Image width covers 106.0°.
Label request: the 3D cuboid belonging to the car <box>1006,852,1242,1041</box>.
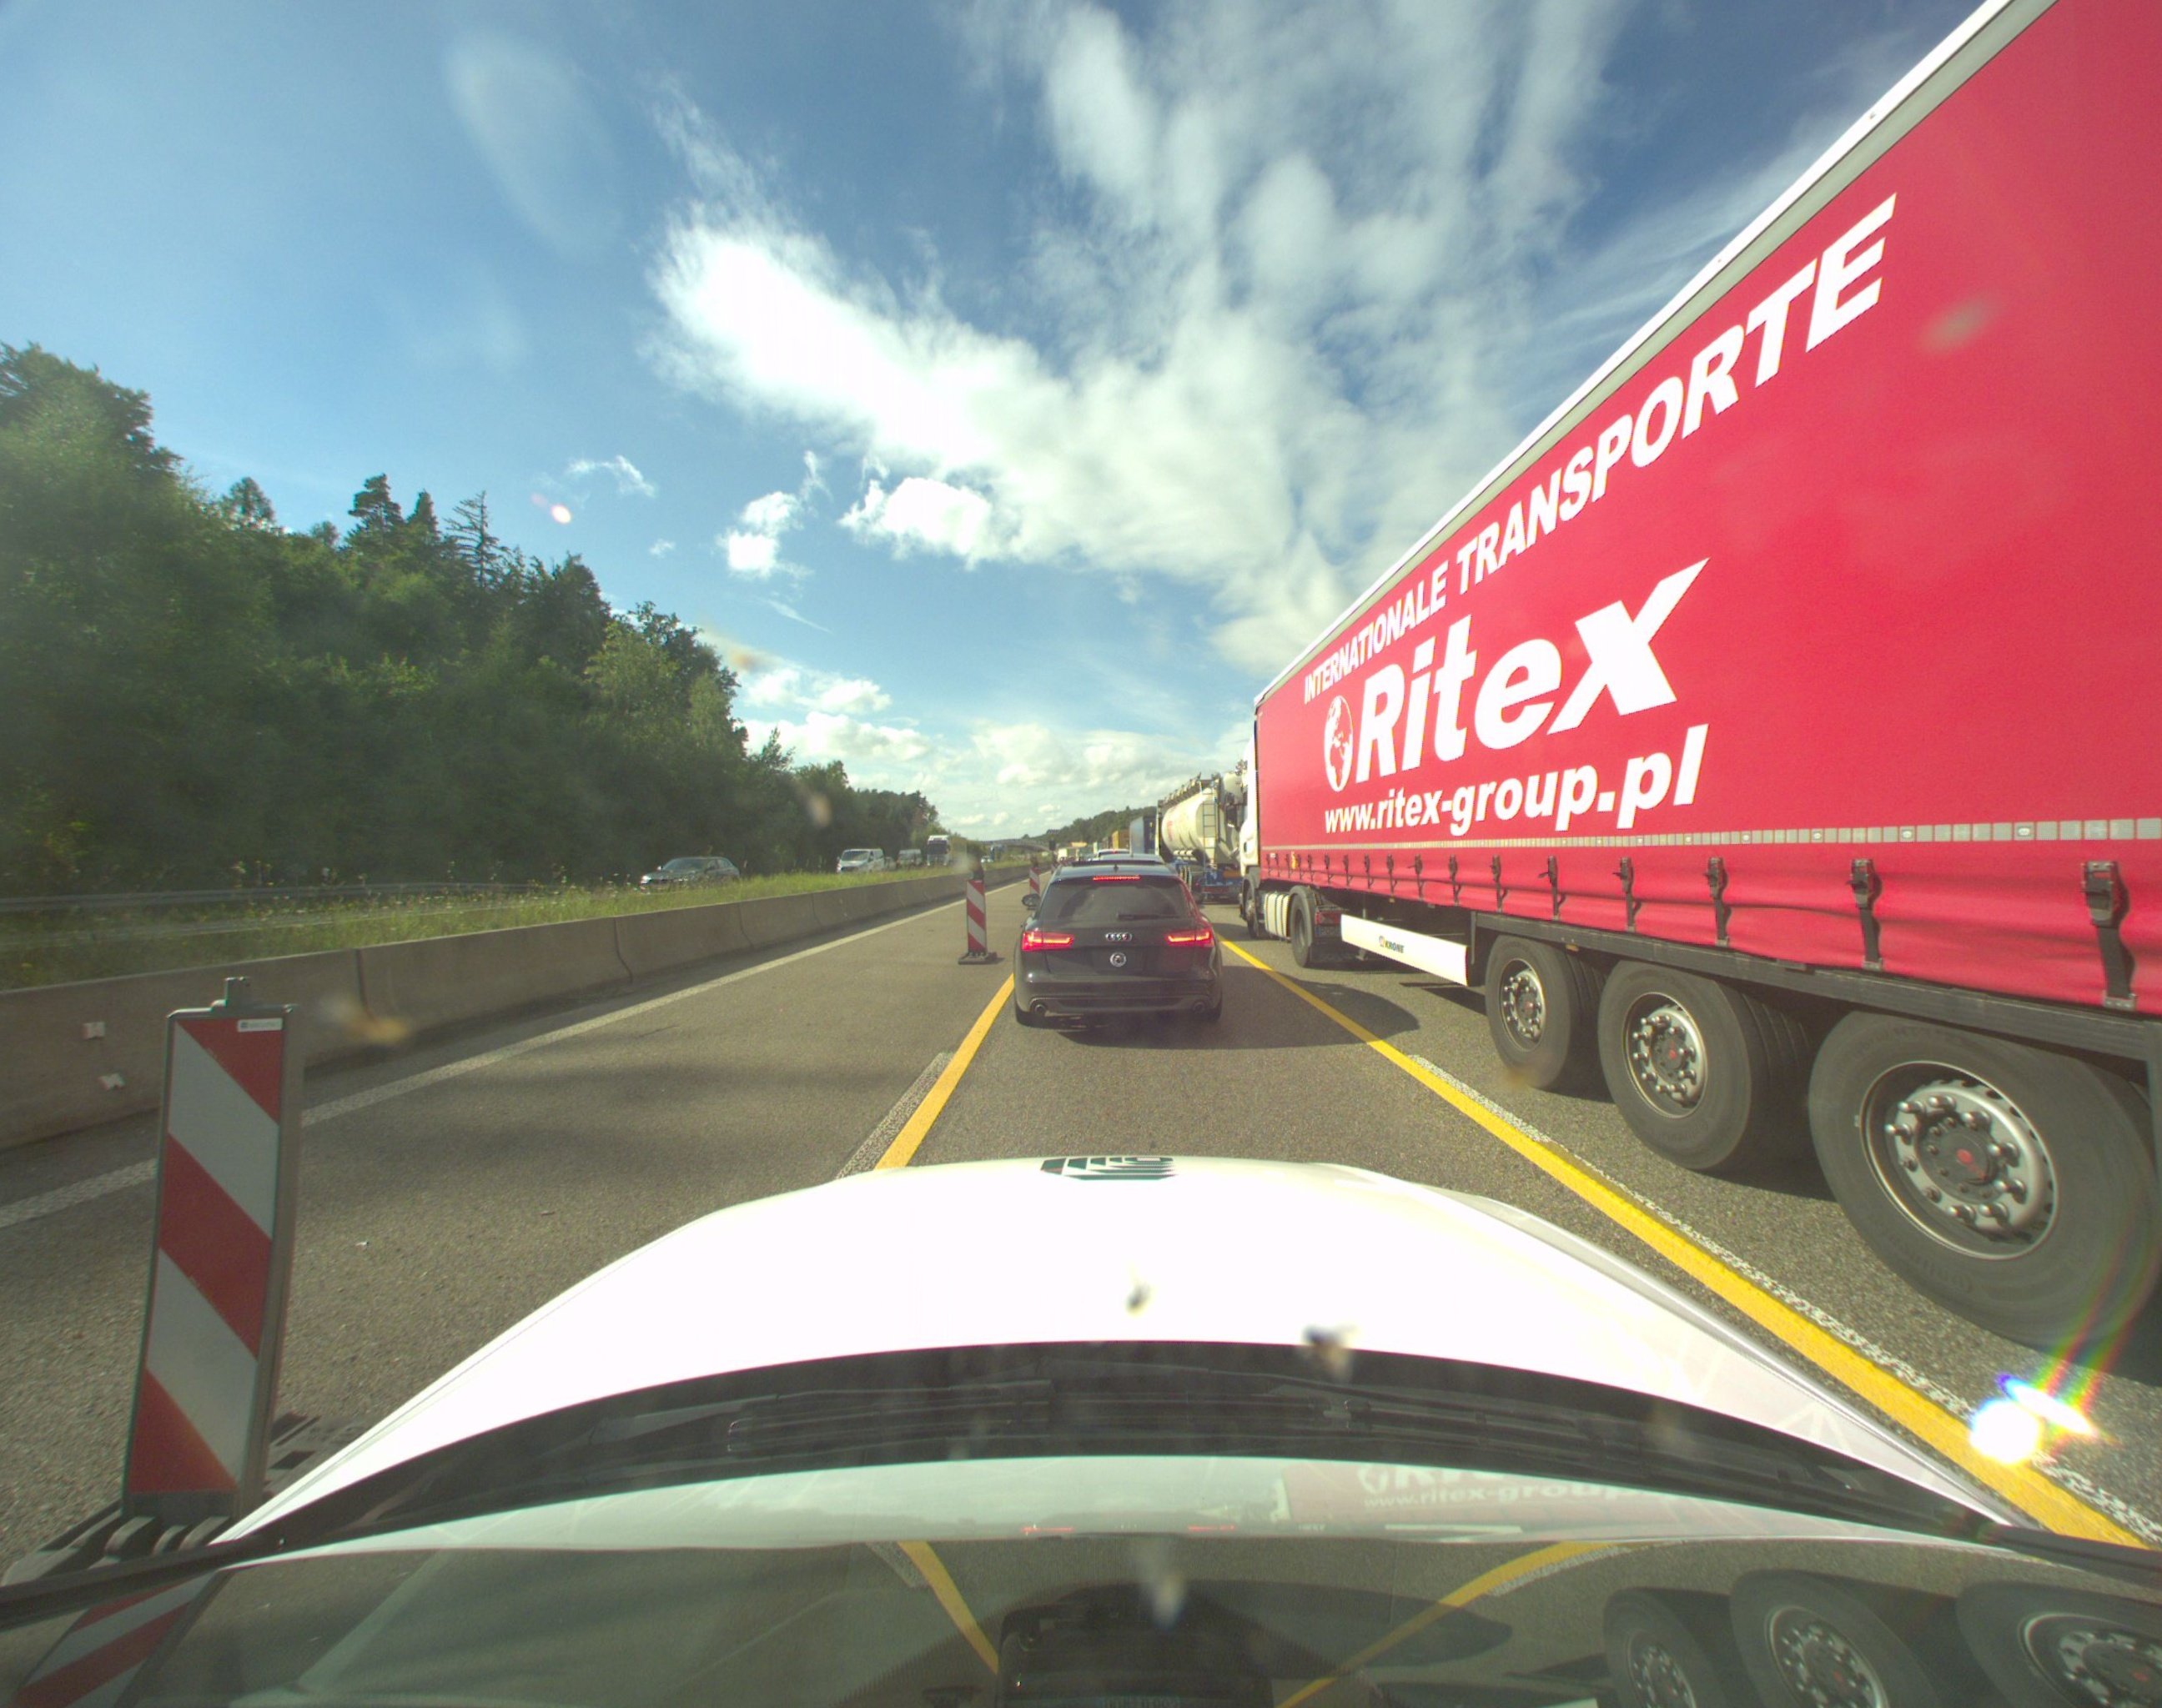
[{"bbox_3d":[0.404,0.747,8.425,1.842,1.463,4.001,-1,-1,2],"label":"car"}]

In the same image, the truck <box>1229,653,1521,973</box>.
[{"bbox_3d":[4.163,-0.511,12.975,2.658,3.959,5.711,-1,0,1],"label":"truck"}]

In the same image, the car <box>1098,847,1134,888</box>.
[{"bbox_3d":[1.615,0.607,37.571,1.575,1.837,3.113,0,-1,2],"label":"car"}]

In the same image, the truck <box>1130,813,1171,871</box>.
[{"bbox_3d":[5.465,-0.866,65.114,2.795,4.370,7.794,0,-1,2],"label":"truck"}]

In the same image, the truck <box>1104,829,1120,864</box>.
[{"bbox_3d":[4.544,-1.008,119.157,1.987,4.914,9.562,-1,0,0],"label":"truck"}]

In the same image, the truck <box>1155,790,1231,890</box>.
[{"bbox_3d":[4.749,-0.526,35.432,2.649,3.972,5.780,0,-1,2],"label":"truck"}]

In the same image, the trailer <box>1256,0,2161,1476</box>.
[{"bbox_3d":[4.030,-0.496,6.346,2.690,3.969,13.420,-1,0,1],"label":"trailer"}]

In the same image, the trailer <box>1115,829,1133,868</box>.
[{"bbox_3d":[4.490,-0.550,85.779,1.611,3.918,6.490,0,-1,1],"label":"trailer"}]

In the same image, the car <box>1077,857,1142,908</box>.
[{"bbox_3d":[0.840,0.802,24.110,1.745,1.397,3.609,0,-1,2],"label":"car"}]

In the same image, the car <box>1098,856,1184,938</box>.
[{"bbox_3d":[1.115,0.782,16.062,1.518,1.439,3.286,0,-1,2],"label":"car"}]

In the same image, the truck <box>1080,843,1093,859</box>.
[{"bbox_3d":[1.420,-0.714,214.616,3.293,4.175,9.700,-1,0,0],"label":"truck"}]

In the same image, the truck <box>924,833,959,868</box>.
[{"bbox_3d":[-16.308,-0.396,95.593,2.816,3.909,5.951,0,-1,2],"label":"truck"}]

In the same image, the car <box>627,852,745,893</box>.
[{"bbox_3d":[-13.915,0.629,29.003,1.951,1.363,4.289,0,-1,2],"label":"car"}]

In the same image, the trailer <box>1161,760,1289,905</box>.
[{"bbox_3d":[4.544,-0.566,28.562,2.634,3.943,12.602,0,0,2],"label":"trailer"}]

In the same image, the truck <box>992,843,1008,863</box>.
[{"bbox_3d":[-16.950,-0.169,170.192,2.628,4.189,5.469,-1,0,2],"label":"truck"}]

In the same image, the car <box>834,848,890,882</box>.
[{"bbox_3d":[-13.518,0.661,50.555,1.986,2.014,4.833,0,-1,2],"label":"car"}]

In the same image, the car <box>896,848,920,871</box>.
[{"bbox_3d":[-20.835,0.696,98.154,2.247,2.643,5.009,0,-1,-6],"label":"car"}]

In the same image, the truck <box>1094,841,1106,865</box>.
[{"bbox_3d":[3.545,-0.164,152.557,2.130,4.257,7.073,0,-1,1],"label":"truck"}]

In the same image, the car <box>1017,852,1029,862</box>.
[{"bbox_3d":[-11.672,0.651,162.729,1.986,1.948,4.001,0,-1,1],"label":"car"}]

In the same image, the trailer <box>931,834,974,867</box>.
[{"bbox_3d":[-16.057,-0.377,103.048,2.817,3.922,13.945,0,-1,2],"label":"trailer"}]

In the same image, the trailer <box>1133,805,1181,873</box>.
[{"bbox_3d":[5.259,-0.929,57.987,2.795,4.413,10.436,0,-1,2],"label":"trailer"}]

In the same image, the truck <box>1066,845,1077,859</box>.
[{"bbox_3d":[-2.885,-0.510,246.756,3.295,4.175,9.696,-1,0,-1],"label":"truck"}]
